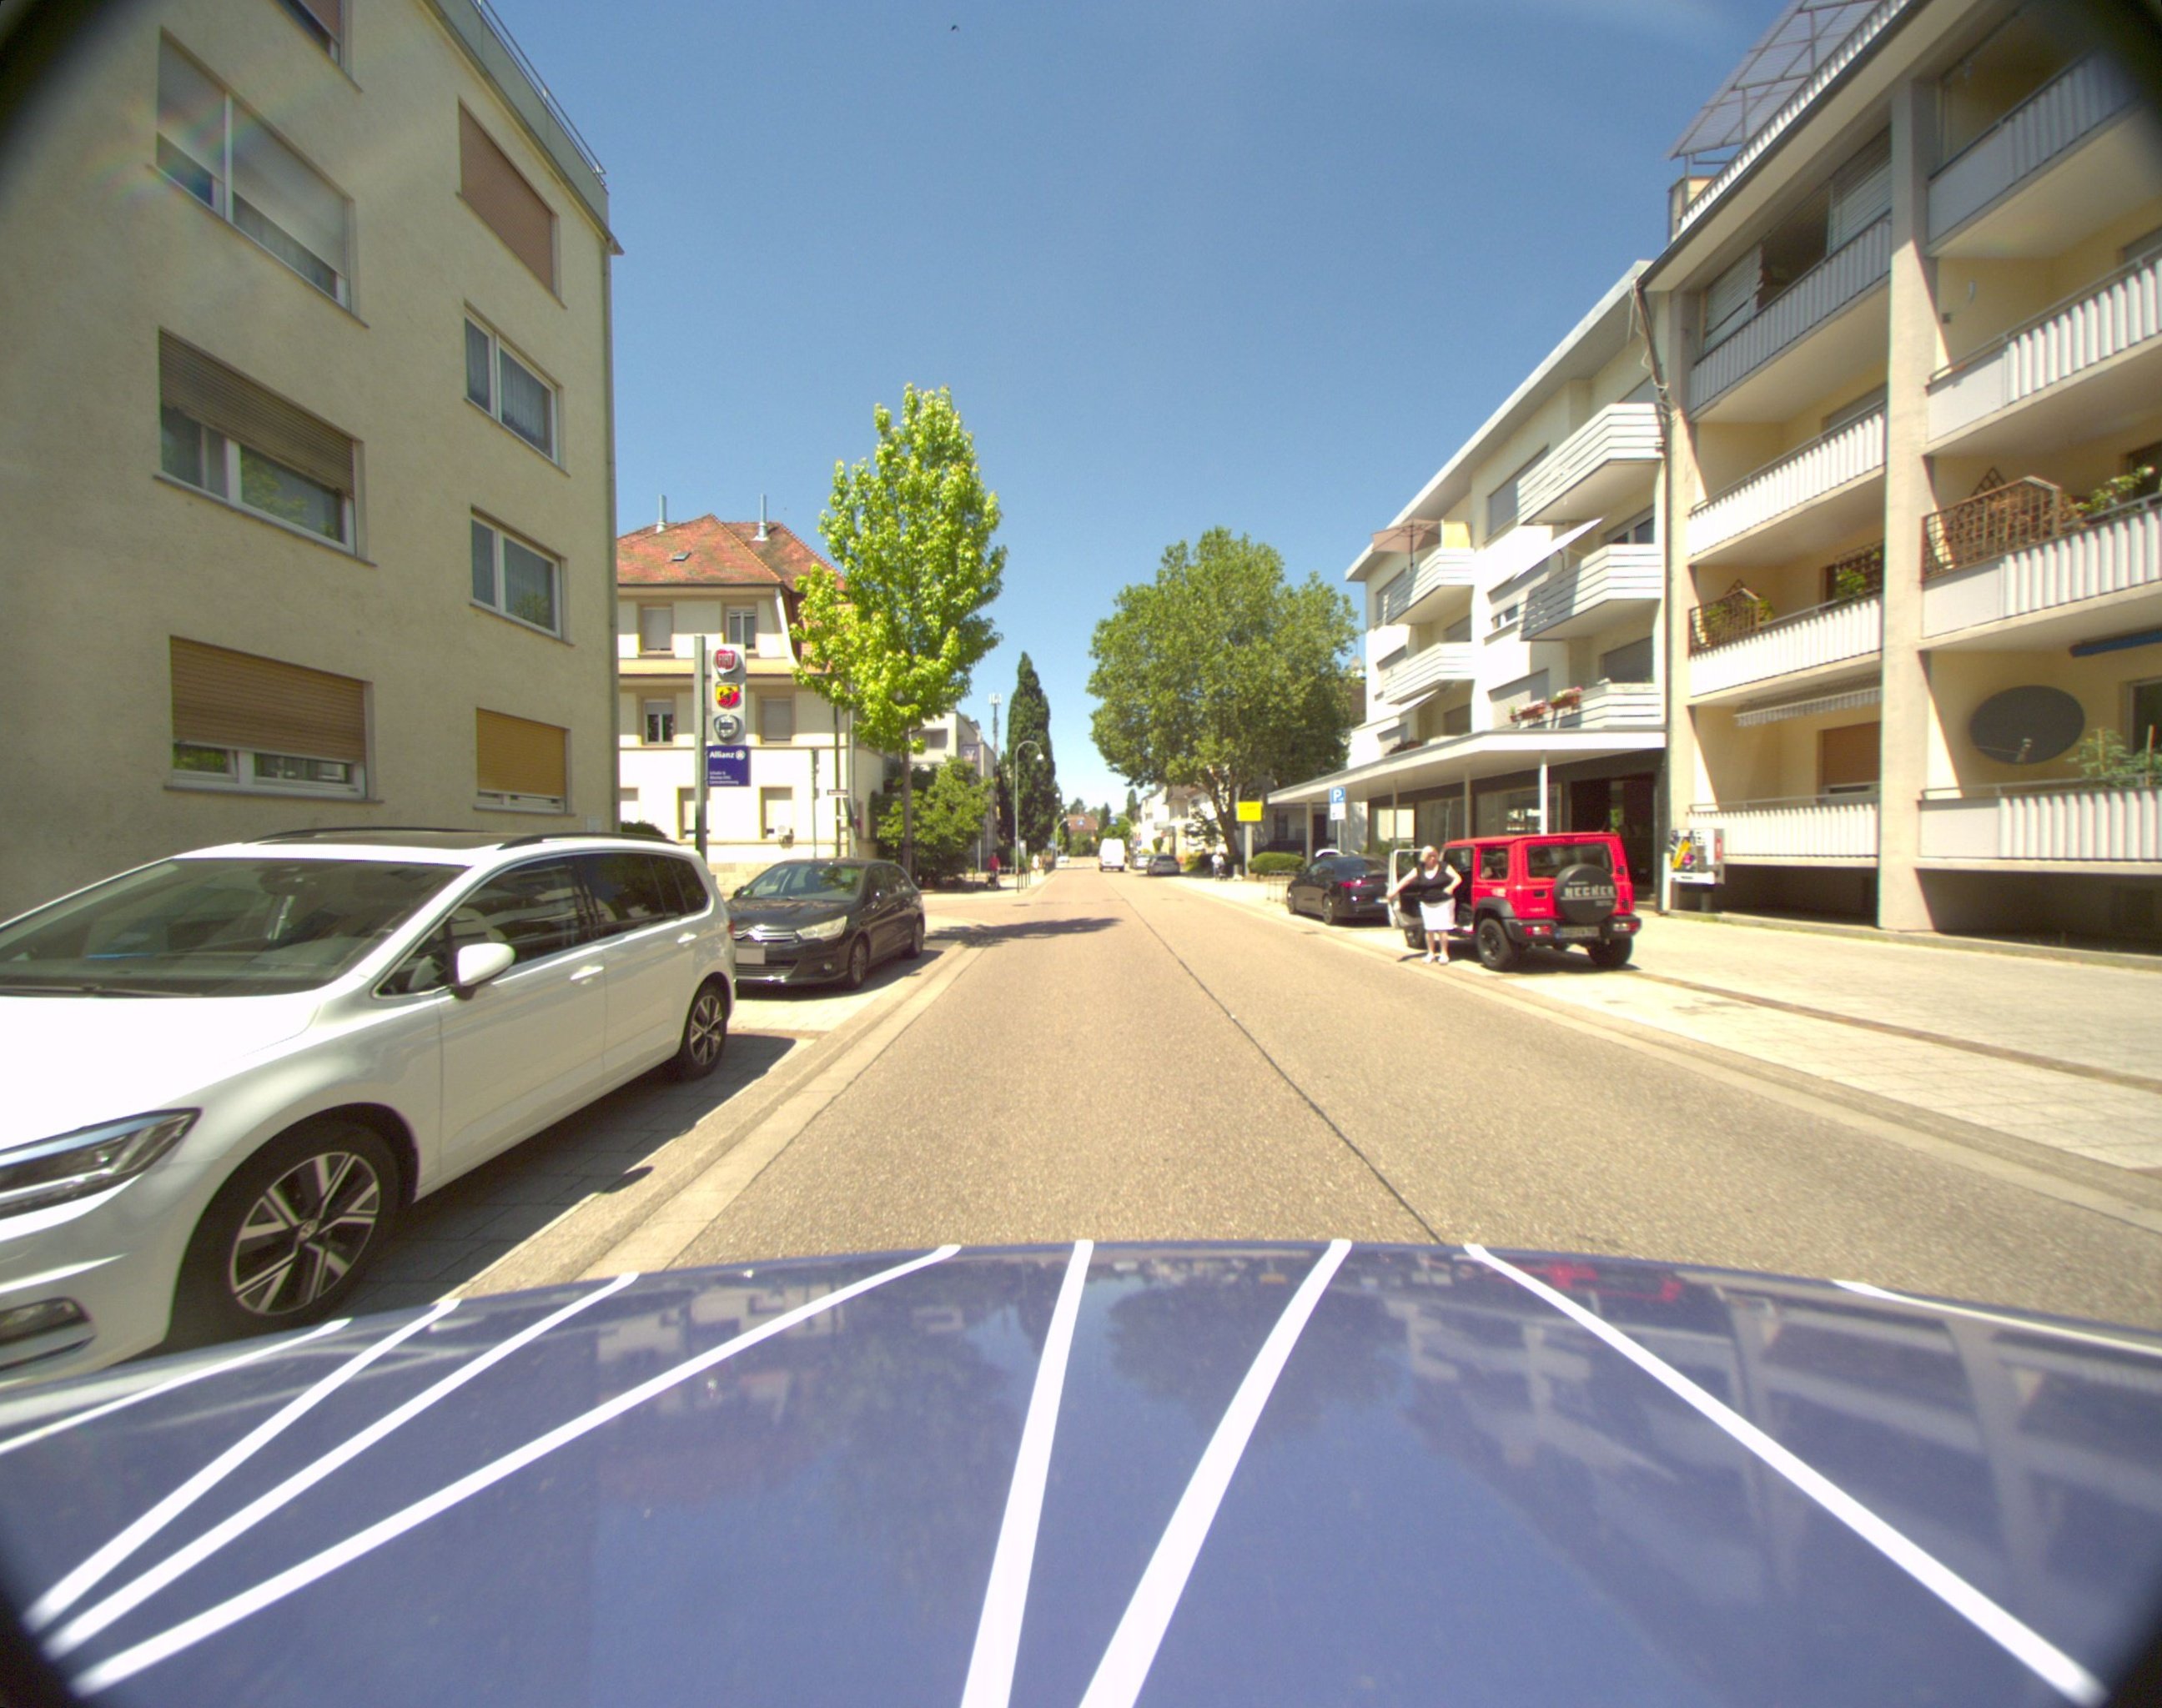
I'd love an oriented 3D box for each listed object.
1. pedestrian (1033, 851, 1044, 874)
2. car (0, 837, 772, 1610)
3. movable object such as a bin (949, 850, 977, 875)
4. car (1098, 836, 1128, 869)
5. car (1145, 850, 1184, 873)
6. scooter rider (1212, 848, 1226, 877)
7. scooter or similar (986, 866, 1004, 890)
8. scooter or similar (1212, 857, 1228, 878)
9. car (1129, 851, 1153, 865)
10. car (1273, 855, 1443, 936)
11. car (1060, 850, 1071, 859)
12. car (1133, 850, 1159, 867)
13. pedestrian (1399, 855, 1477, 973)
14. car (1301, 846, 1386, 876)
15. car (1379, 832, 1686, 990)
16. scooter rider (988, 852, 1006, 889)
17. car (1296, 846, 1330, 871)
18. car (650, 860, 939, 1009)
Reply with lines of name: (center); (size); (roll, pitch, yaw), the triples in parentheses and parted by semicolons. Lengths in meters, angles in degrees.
pedestrian: (-2.961, 0.590, 53.148); (0.702, 1.617, 0.783); (2, 1, -1)
car: (-3.362, 0.780, 3.735); (1.901, 1.665, 4.689); (1, 0, -2)
movable object such as a bin: (-7.060, 0.493, 45.557); (1.371, 1.450, 1.380); (3, 1, 2)
car: (2.642, -0.119, 64.570); (2.042, 2.615, 7.106); (1, 0, -1)
car: (5.660, 0.498, 52.092); (1.986, 1.444, 5.149); (-2, 0, -1)
scooter rider: (7.654, 0.483, 42.130); (0.590, 1.566, 0.877); (-3, 0, 1)
scooter or similar: (-3.581, 0.987, 31.742); (0.665, 0.957, 0.753); (1, 1, -1)
scooter or similar: (7.632, 0.723, 41.717); (0.665, 1.092, 1.028); (-3, 0, 2)
car: (5.945, 0.381, 75.778); (1.947, 1.365, 5.097); (-1, 0, 1)
car: (5.925, 0.800, 17.020); (1.901, 1.409, 5.047); (-3, 0, 0)
car: (-2.629, 0.059, 129.583); (1.920, 1.460, 4.879); (0, 1, 0)
car: (5.892, 0.368, 69.708); (1.986, 1.444, 5.357); (-2, 0, 1)
pedestrian: (4.873, 0.786, 10.383); (0.730, 1.525, 0.725); (-1, 1, -40)
car: (13.906, 0.336, 40.406); (1.900, 1.478, 3.986); (-1, 1, -30)
car: (5.859, 0.626, 10.543); (1.757, 1.692, 4.101); (-3, 0, 0)
scooter rider: (-3.577, 0.684, 32.336); (0.718, 1.540, 0.770); (1, 1, -2)
car: (14.839, 0.253, 48.730); (1.809, 1.536, 4.109); (0, 1, 13)
car: (-3.296, 0.828, 9.877); (1.900, 1.430, 4.544); (0, 0, 2)
